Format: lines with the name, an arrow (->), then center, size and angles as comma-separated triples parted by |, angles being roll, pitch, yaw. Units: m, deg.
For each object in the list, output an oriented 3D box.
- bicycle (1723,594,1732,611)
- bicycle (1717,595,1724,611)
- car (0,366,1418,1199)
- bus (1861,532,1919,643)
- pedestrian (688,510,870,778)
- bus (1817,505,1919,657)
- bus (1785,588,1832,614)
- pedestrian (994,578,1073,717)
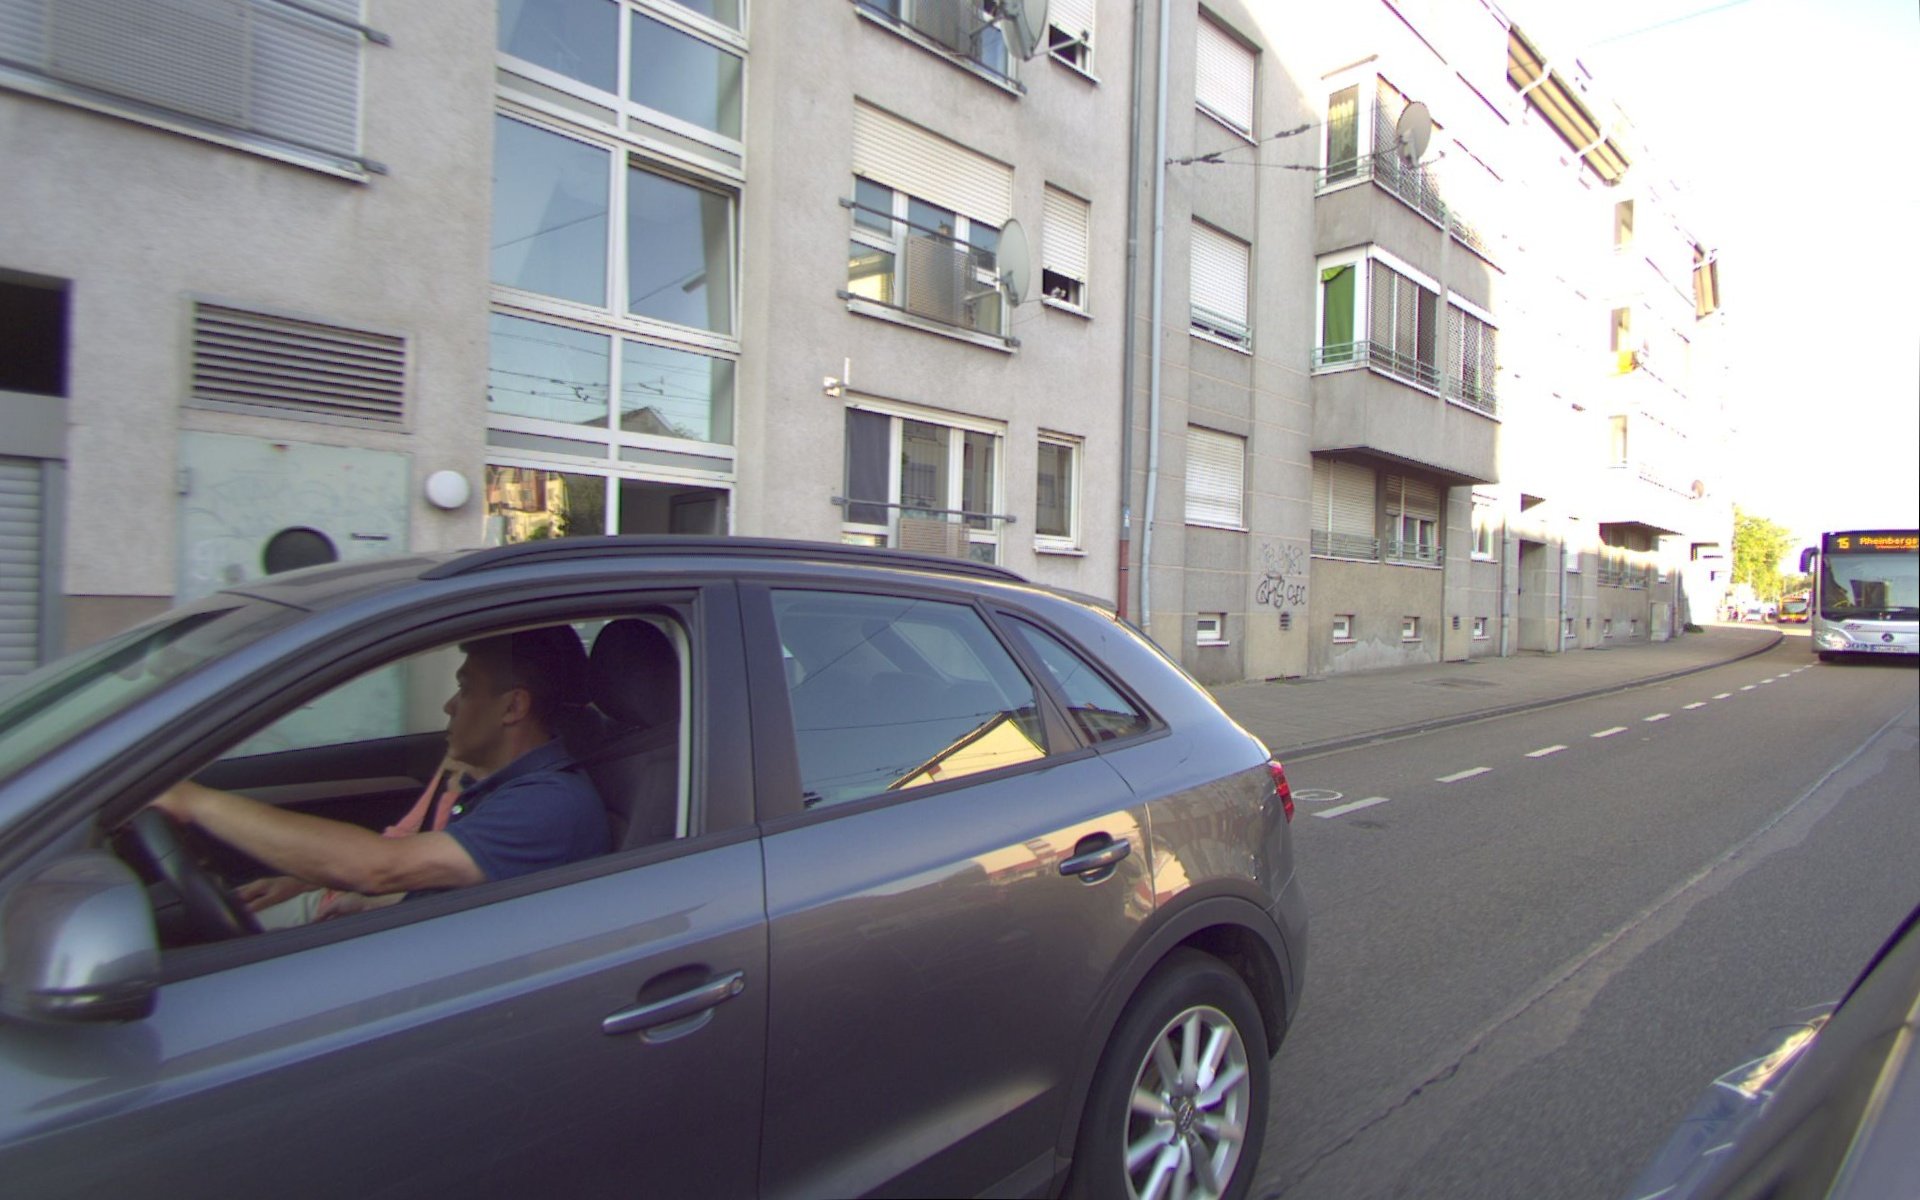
bicycle -> 48.533, 0.148, 63.973 | 0.359, 1.044, 1.706 | 5, 3, 37
bicycle -> 48.076, 0.169, 63.992 | 0.278, 0.983, 1.706 | 5, 3, 37
car -> -0.868, 0.575, 2.108 | 3.996, 1.607, 1.770 | 1, 1, -41
bus -> 30.723, -0.311, 31.951 | 10.425, 3.116, 2.707 | 0, 0, -44
pedestrian -> -1.324, 0.284, 7.401 | 0.978, 1.794, 0.831 | 1, 1, -41
bus -> 23.267, -0.365, 24.644 | 10.425, 3.116, 2.726 | 0, 0, -44
bus -> 100.718, 0.150, 120.265 | 3.857, 2.888, 13.634 | 0, 0, 38
pedestrian -> 0.757, 0.461, 10.432 | 0.599, 1.361, 0.514 | -1, 3, -45
